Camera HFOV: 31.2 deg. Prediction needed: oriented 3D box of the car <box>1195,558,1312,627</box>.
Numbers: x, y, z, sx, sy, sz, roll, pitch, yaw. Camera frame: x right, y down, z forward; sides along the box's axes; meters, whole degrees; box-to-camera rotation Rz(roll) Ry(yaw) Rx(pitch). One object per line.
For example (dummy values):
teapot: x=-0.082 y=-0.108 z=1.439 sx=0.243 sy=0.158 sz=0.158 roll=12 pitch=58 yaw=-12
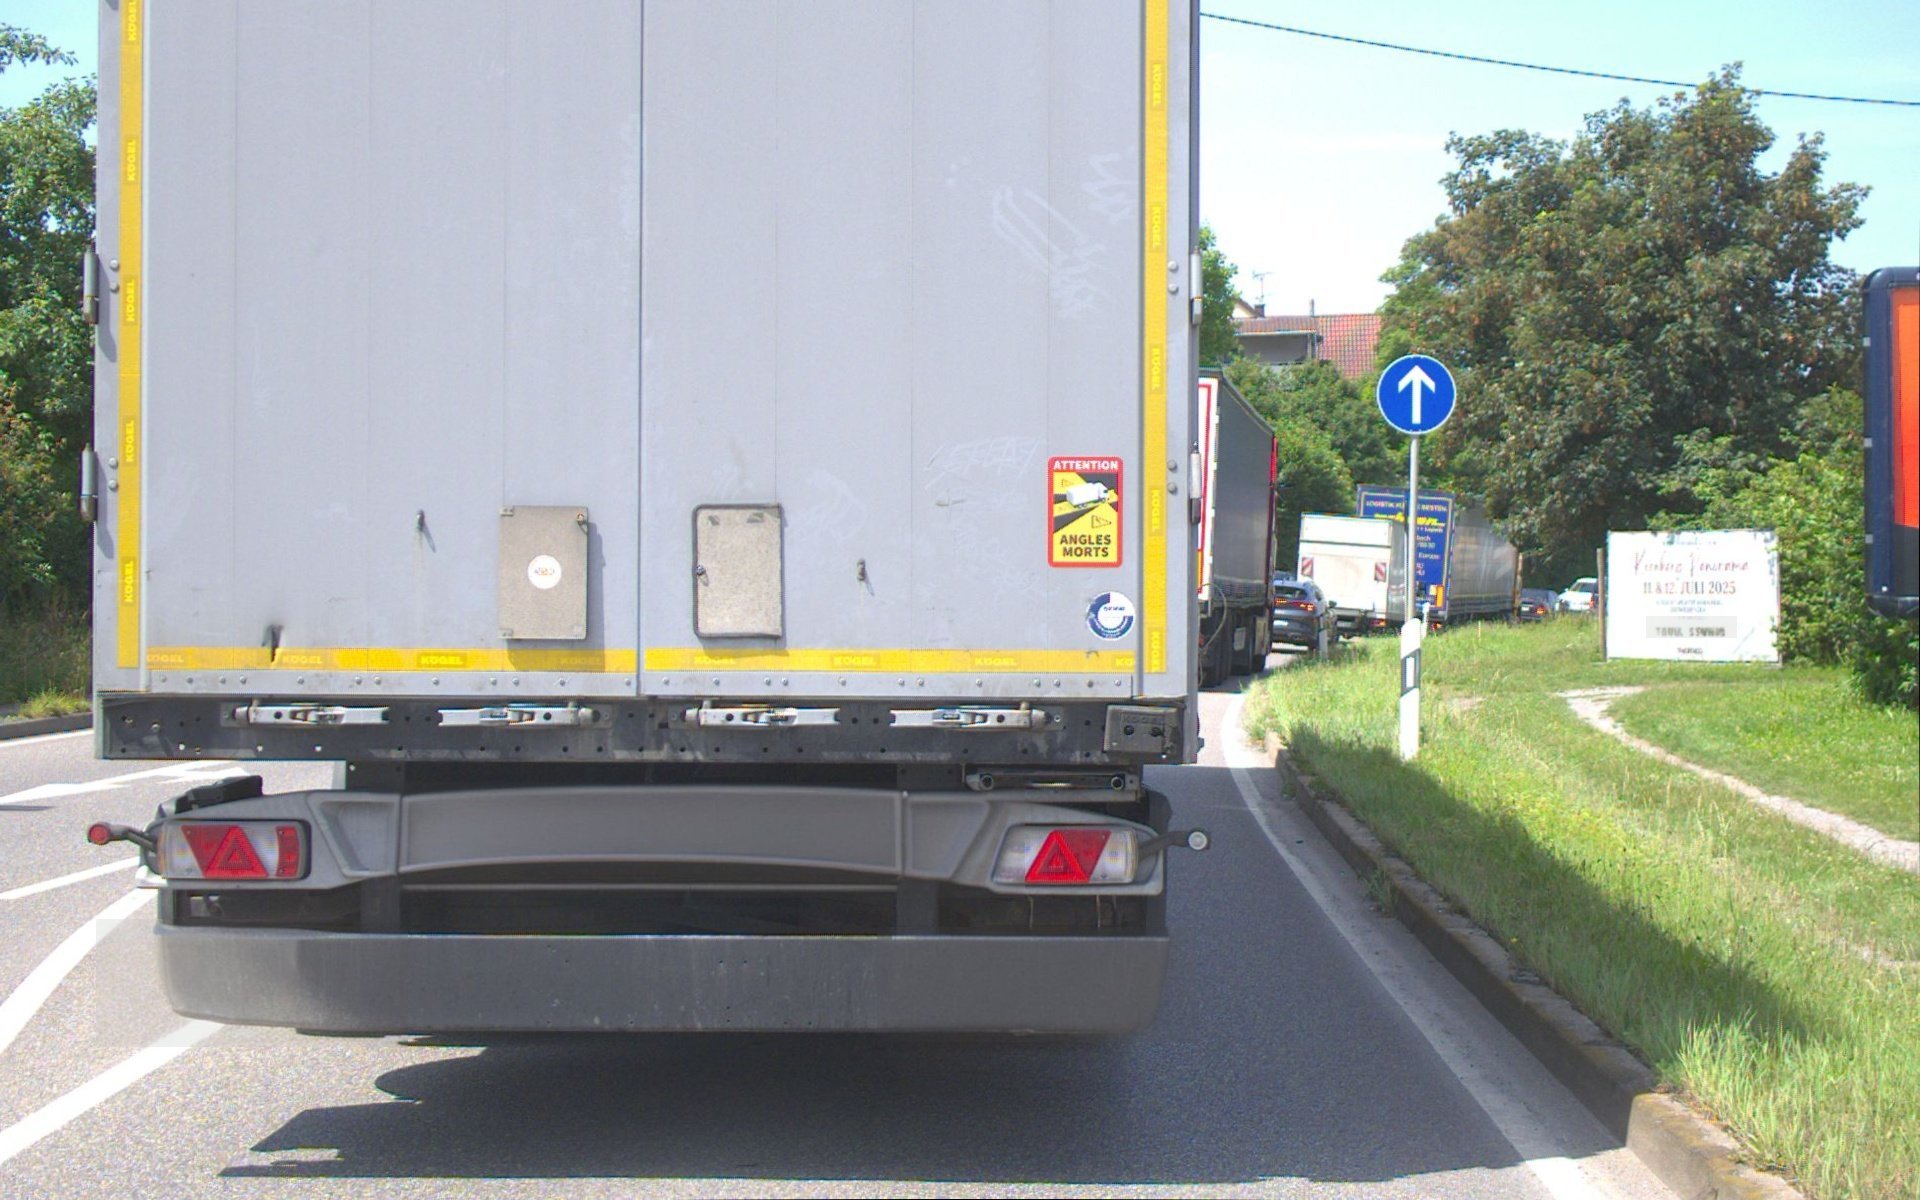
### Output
car: x=6.210 y=-0.150 z=72.429 sx=1.994 sy=1.371 sz=3.998 roll=1 pitch=0 yaw=11

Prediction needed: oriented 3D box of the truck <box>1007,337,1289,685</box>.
truck: x=3.092 y=-1.117 z=50.690 sx=2.761 sy=4.274 sz=16.410 roll=1 pitch=0 yaw=8

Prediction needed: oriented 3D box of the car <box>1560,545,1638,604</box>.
car: x=22.172 y=-0.868 z=119.166 sx=1.995 sy=2.007 sz=3.996 roll=1 pitch=0 yaw=20

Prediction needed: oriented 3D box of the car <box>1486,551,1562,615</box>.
car: x=18.225 y=-0.534 z=111.013 sx=1.995 sy=2.007 sz=3.997 roll=1 pitch=0 yaw=15

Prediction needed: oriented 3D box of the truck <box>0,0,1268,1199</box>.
truck: x=-0.563 y=-0.845 z=13.262 sx=2.822 sy=4.113 sz=11.443 roll=1 pitch=1 yaw=2

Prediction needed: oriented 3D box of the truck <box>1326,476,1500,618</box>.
truck: x=12.317 y=-1.461 z=92.736 sx=3.435 sy=3.592 sz=9.347 roll=1 pitch=1 yaw=15

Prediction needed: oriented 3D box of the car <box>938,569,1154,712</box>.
car: x=0.932 y=0.383 z=35.042 sx=1.819 sy=1.342 sz=3.846 roll=1 pitch=0 yaw=7

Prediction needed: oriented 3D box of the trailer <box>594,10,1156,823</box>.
trailer: x=-0.318 y=-0.995 z=20.675 sx=2.825 sy=4.097 sz=6.544 roll=0 pitch=1 yaw=2

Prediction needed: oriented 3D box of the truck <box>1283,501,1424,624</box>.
truck: x=9.447 y=-0.864 z=81.992 sx=2.545 sy=2.793 sz=6.028 roll=1 pitch=0 yaw=14

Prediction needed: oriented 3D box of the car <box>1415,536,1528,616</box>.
car: x=15.175 y=-0.744 z=101.646 sx=2.533 sy=2.269 sz=6.376 roll=1 pitch=1 yaw=15
